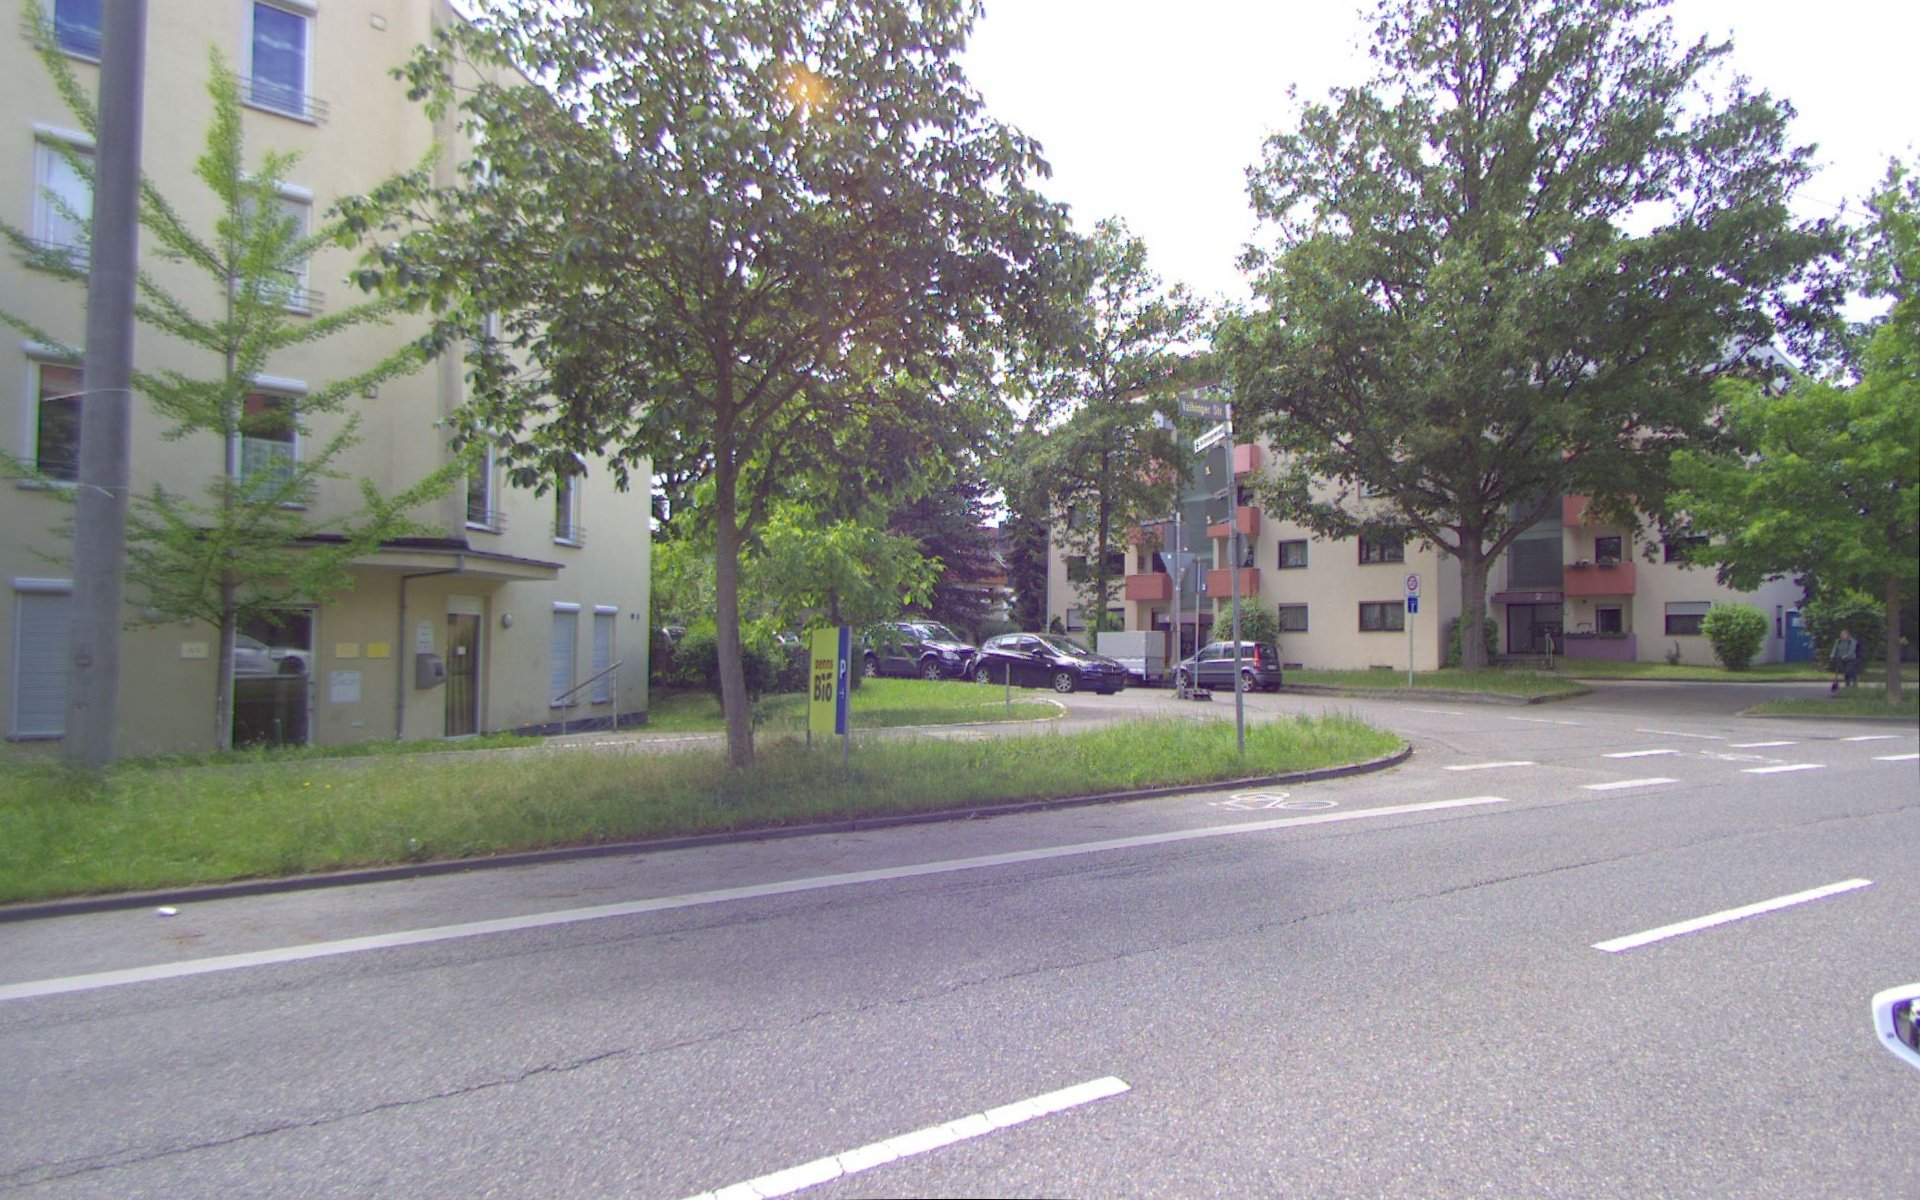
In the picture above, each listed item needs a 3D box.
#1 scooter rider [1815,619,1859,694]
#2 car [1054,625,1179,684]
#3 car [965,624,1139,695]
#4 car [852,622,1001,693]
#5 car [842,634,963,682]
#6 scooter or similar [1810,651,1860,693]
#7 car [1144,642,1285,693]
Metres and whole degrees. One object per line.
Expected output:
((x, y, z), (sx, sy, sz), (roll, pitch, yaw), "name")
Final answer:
((24.355, 1.557, 27.903), (0.785, 2.040, 0.673), (2, 0, -30), "scooter rider")
((5.346, 1.905, 34.609), (1.832, 1.868, 3.952), (2, -5, -42), "car")
((2.133, 1.366, 24.235), (1.725, 1.417, 4.101), (2, 0, -42), "car")
((-1.020, 1.554, 28.256), (1.857, 1.675, 4.379), (2, 0, -41), "car")
((-2.296, 2.272, 39.856), (4.338, 1.817, 2.123), (-1, -2, 28), "car")
((24.327, 2.003, 27.931), (0.934, 1.098, 0.753), (2, 0, -30), "scooter or similar")
((7.831, 2.043, 31.127), (3.945, 1.471, 1.686), (-2, -3, 44), "car")
